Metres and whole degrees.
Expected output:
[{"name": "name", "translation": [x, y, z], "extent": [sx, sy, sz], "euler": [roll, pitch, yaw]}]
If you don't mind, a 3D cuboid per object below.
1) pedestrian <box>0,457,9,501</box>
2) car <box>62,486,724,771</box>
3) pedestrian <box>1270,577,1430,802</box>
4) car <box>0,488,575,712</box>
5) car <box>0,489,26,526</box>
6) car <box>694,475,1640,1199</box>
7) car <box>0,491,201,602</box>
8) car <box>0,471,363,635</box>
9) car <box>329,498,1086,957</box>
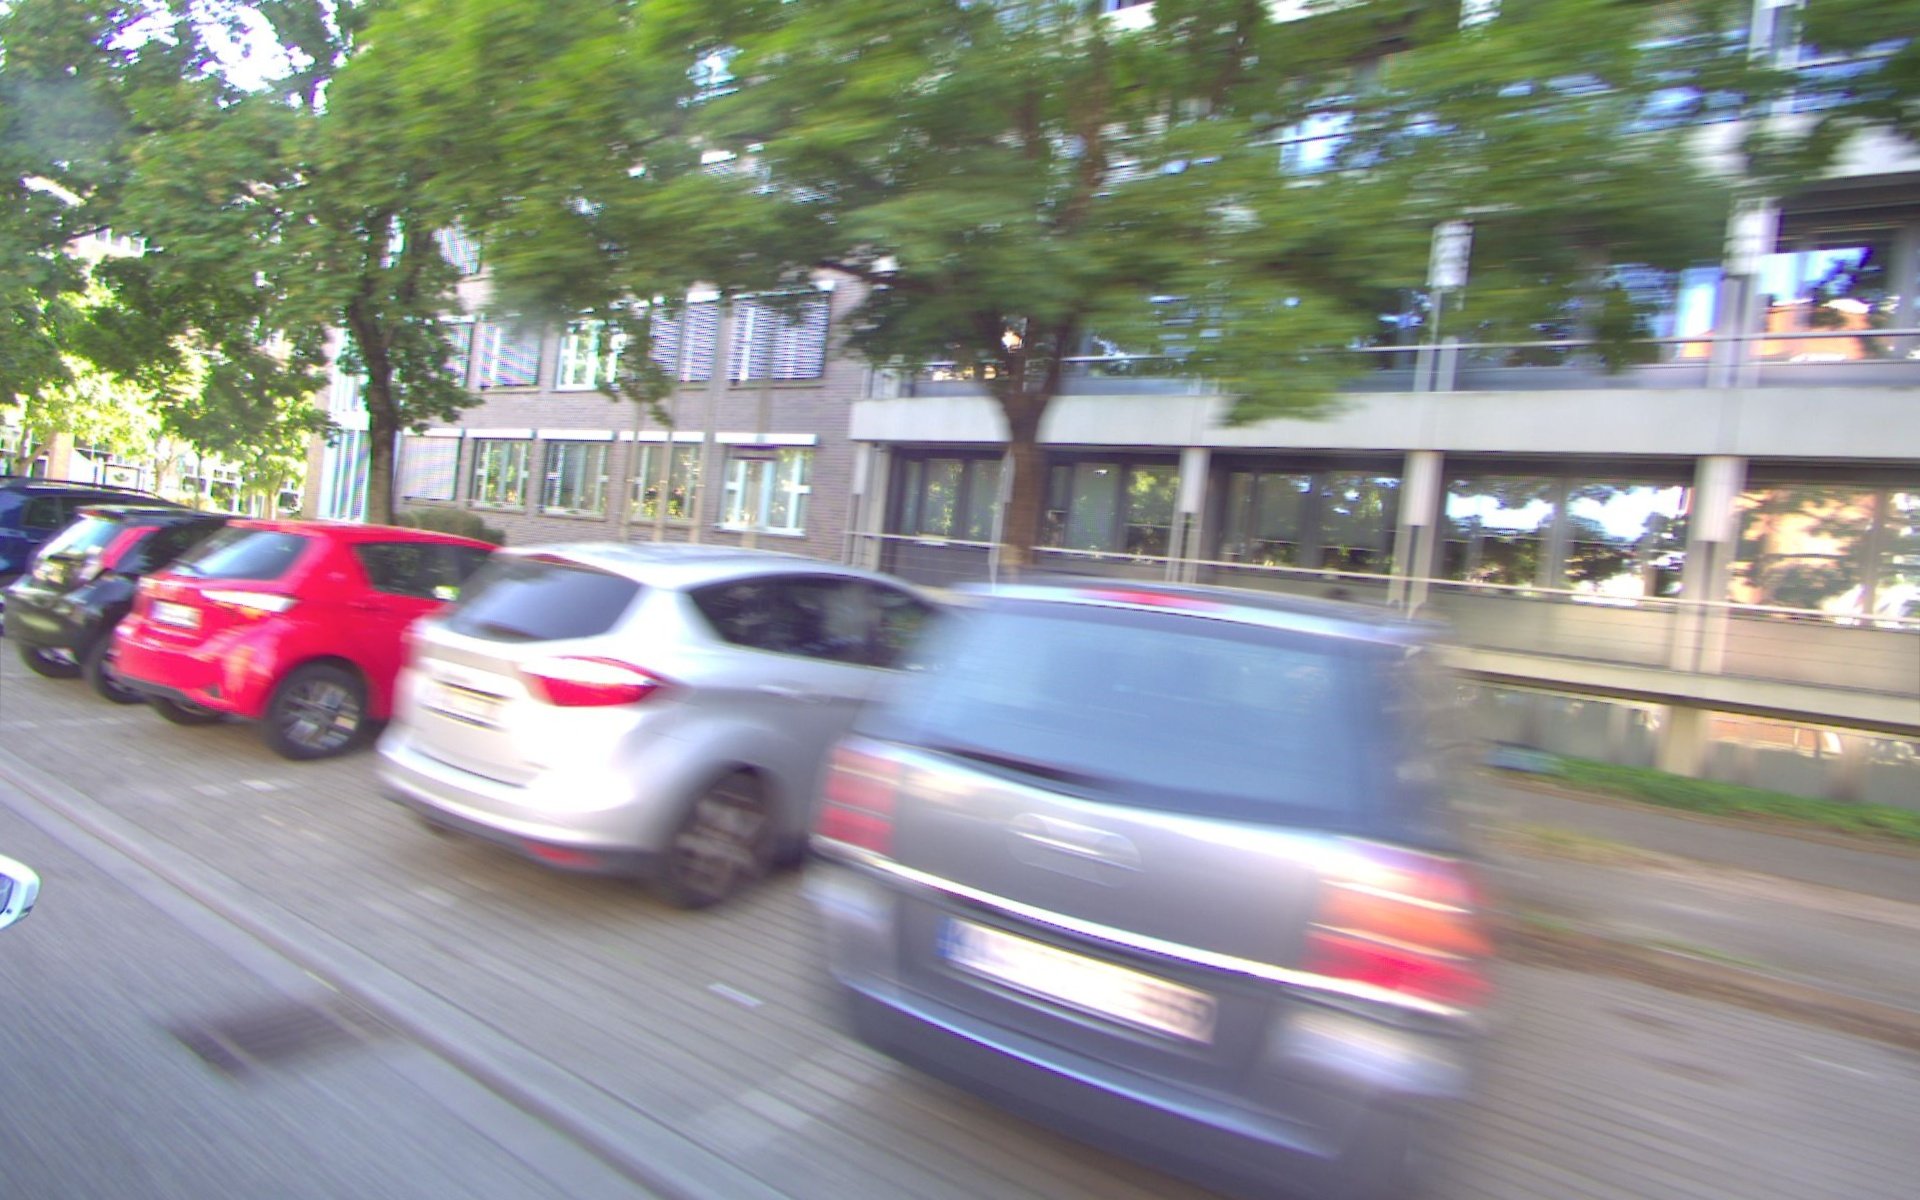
[{"name": "pedestrian", "translation": [-35.470, -4.485, 36.890], "extent": [0.636, 1.602, 0.539], "euler": [7, 1, 23]}, {"name": "car", "translation": [-4.024, 0.225, 7.928], "extent": [1.805, 1.536, 4.131], "euler": [7, 0, 28]}, {"name": "pedestrian", "translation": [3.565, 0.778, 9.163], "extent": [1.002, 1.821, 1.035], "euler": [7, 1, 32]}, {"name": "car", "translation": [-5.796, 0.009, 9.152], "extent": [1.632, 1.480, 4.128], "euler": [7, 2, 28]}, {"name": "car", "translation": [-45.551, -4.474, 47.149], "extent": [3.853, 1.481, 1.653], "euler": [8, 1, 33]}, {"name": "car", "translation": [1.189, 0.726, 3.949], "extent": [1.875, 1.687, 4.131], "euler": [7, 0, 28]}, {"name": "car", "translation": [-13.344, -0.806, 13.984], "extent": [1.626, 1.389, 4.118], "euler": [7, 2, 29]}, {"name": "car", "translation": [-9.475, -0.487, 11.627], "extent": [1.632, 1.611, 4.128], "euler": [5, 1, 28]}, {"name": "car", "translation": [-1.012, 0.534, 5.758], "extent": [1.686, 1.604, 3.988], "euler": [7, 1, 34]}]
